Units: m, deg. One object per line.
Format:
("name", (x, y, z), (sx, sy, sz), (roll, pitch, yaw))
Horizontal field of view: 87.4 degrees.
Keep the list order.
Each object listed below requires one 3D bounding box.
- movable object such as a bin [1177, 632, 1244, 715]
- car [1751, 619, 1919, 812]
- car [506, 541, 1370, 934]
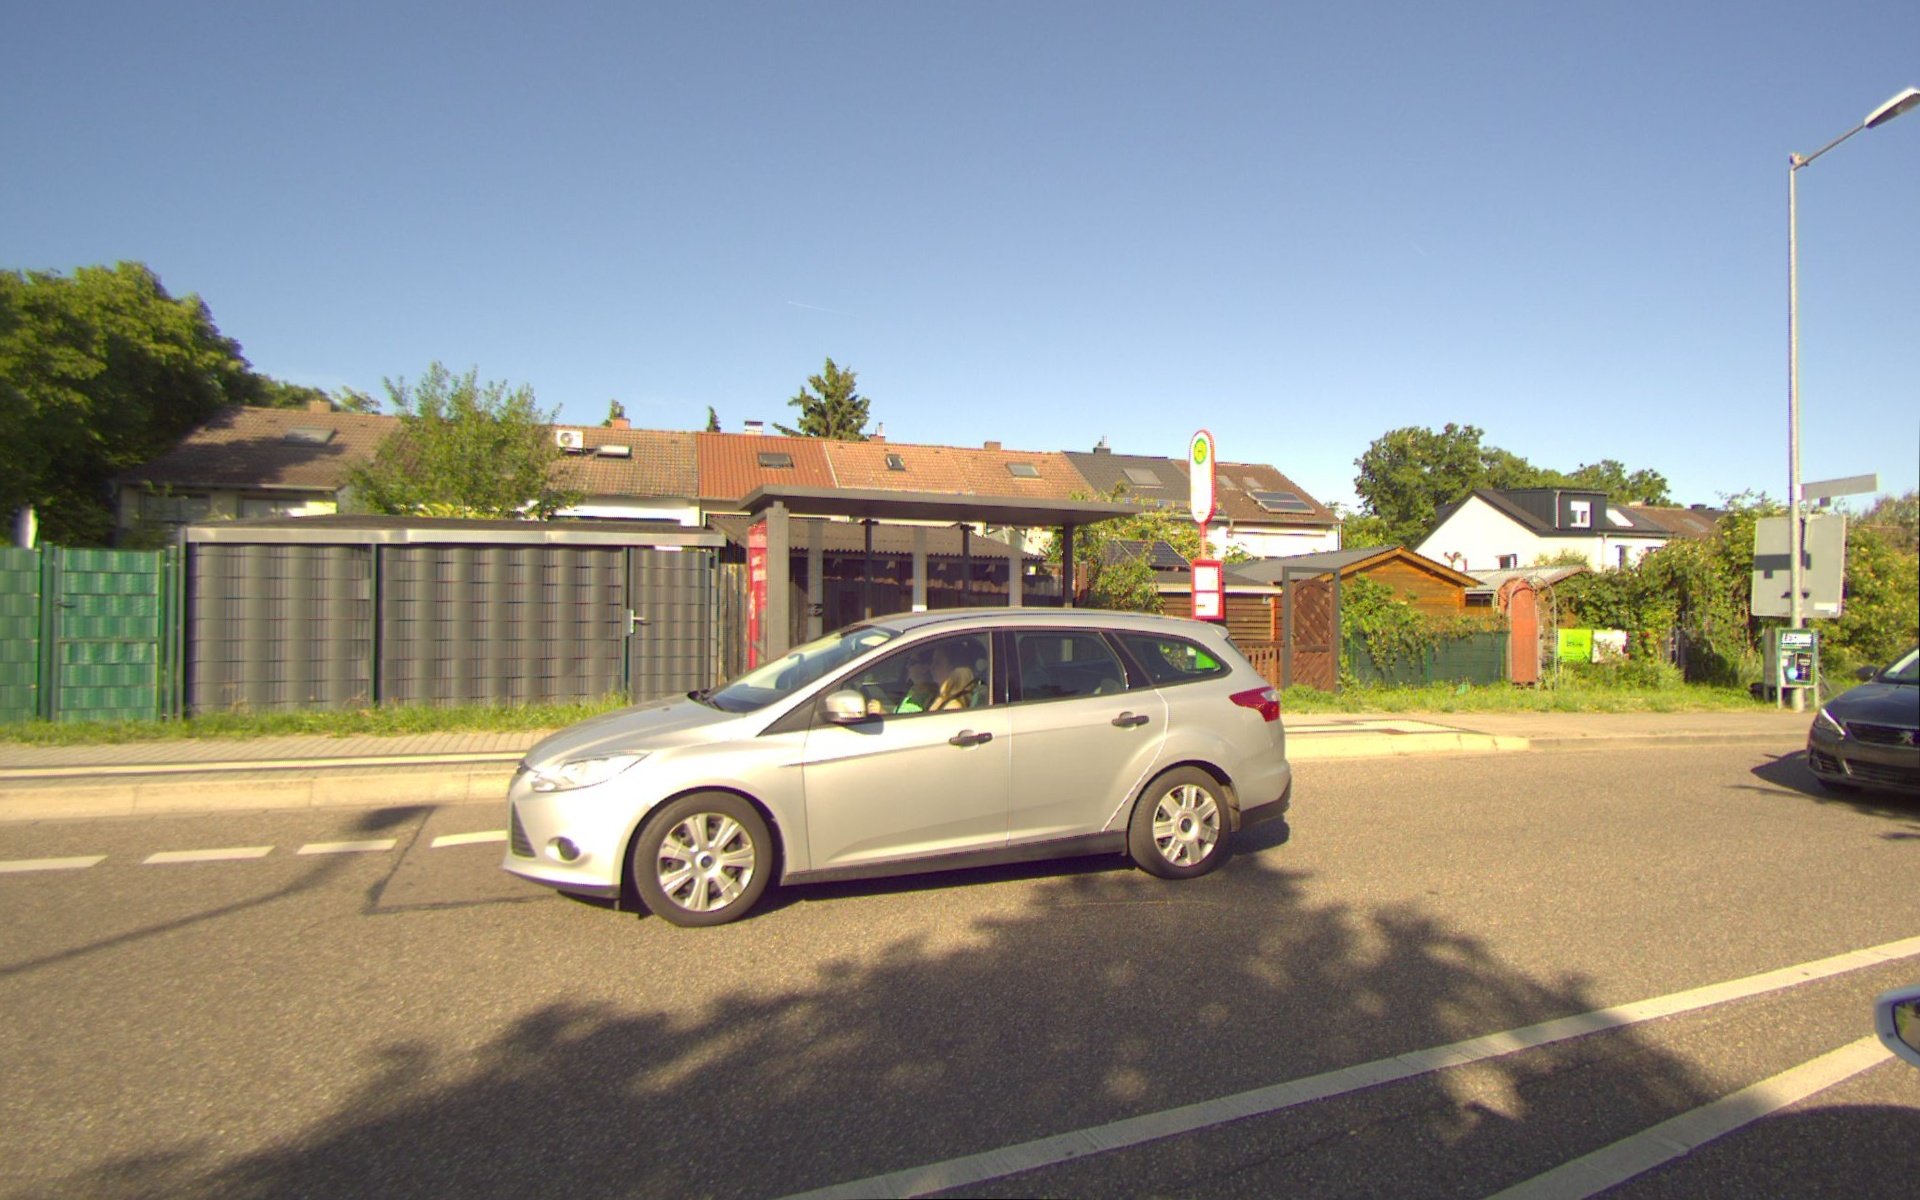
("movable object such as a bin", (3.178, 0.926, 12.779), (0.550, 0.981, 0.591), (1, 3, -22))
("car", (9.294, 0.935, 8.842), (4.392, 1.463, 1.987), (1, 0, -27))
("car", (-0.136, 0.626, 5.957), (4.466, 1.612, 2.206), (1, -1, -21))
